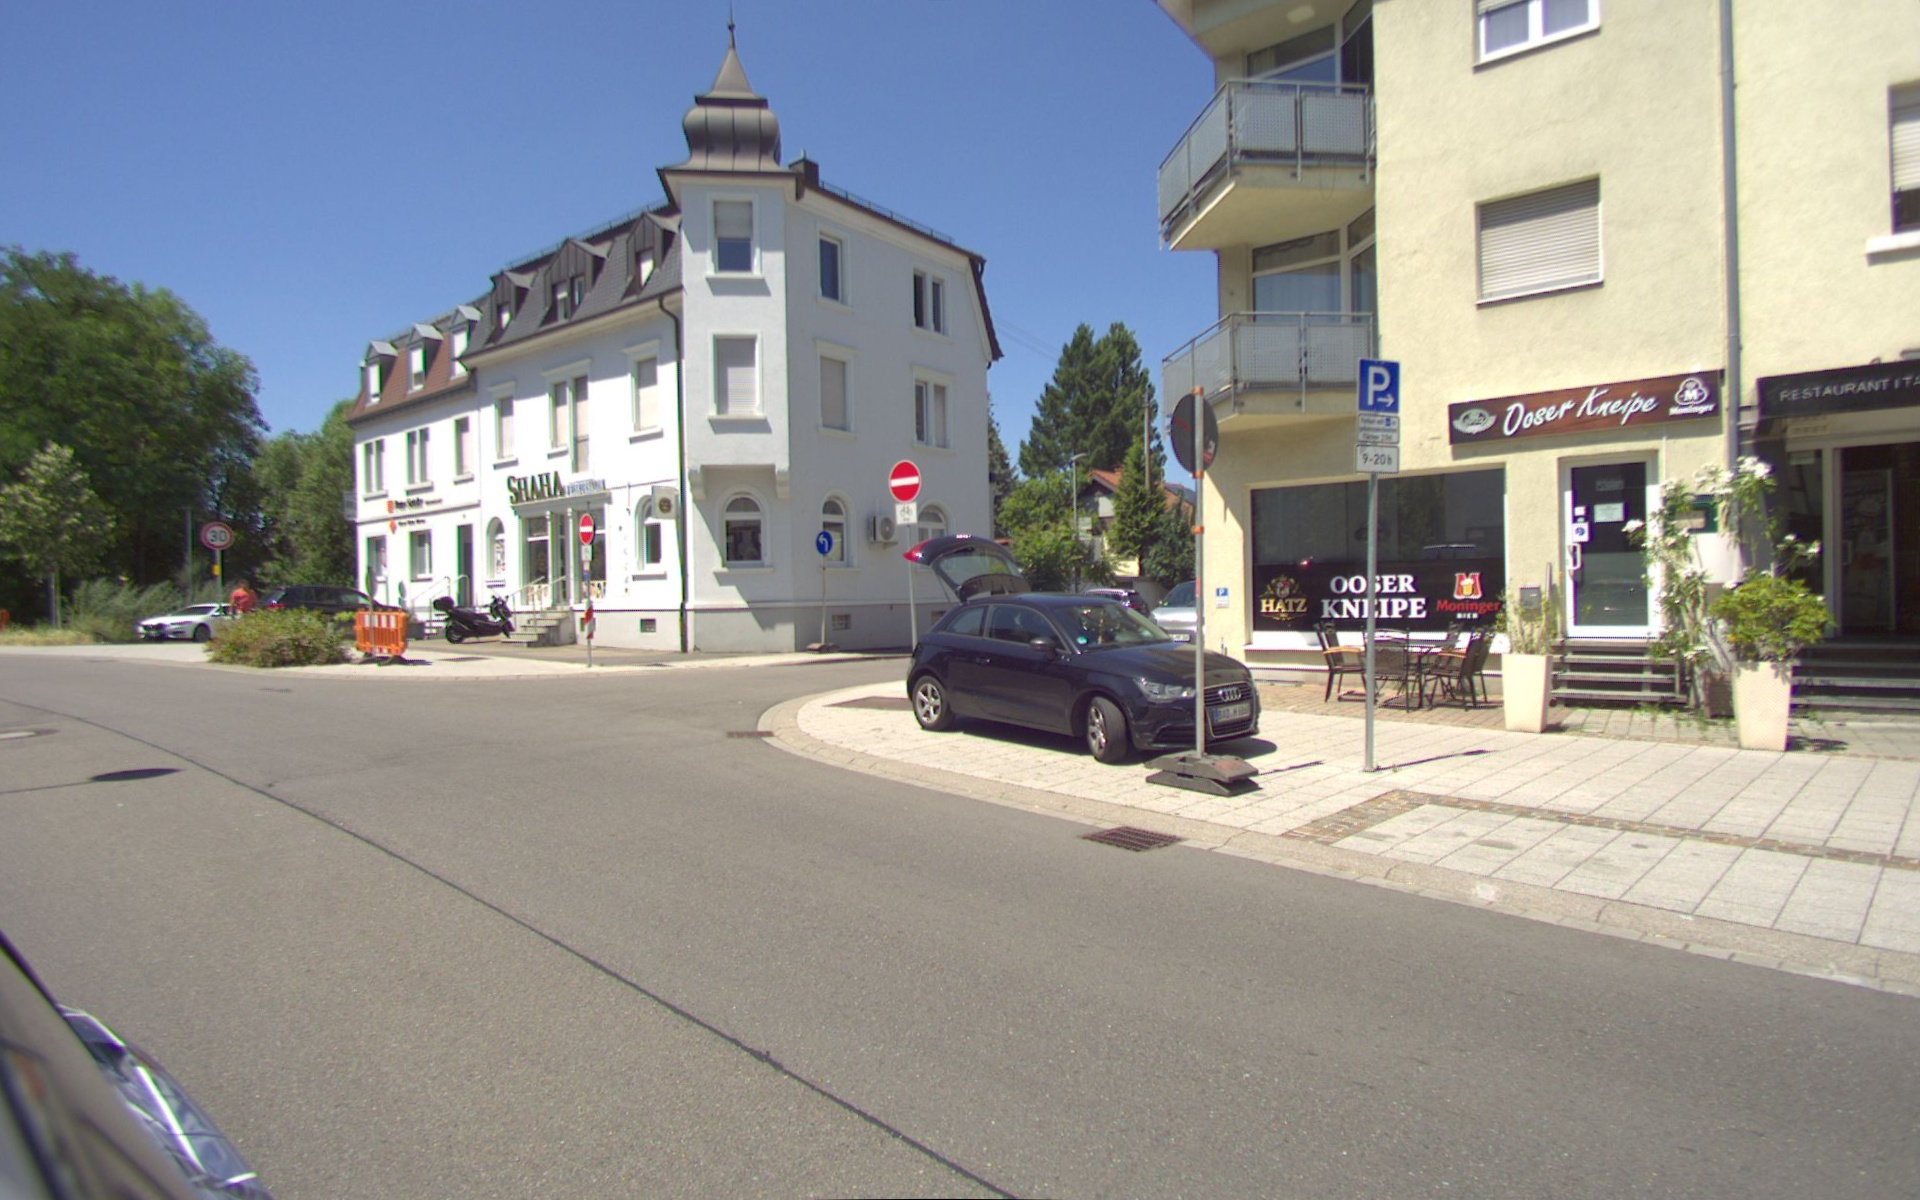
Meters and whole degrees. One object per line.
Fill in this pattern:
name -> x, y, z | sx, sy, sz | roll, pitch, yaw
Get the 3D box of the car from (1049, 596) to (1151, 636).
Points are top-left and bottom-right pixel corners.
car -> 5.837, 0.664, 42.360 | 3.997, 1.590, 1.645 | -1, -1, 40

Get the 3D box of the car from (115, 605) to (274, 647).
car -> -27.054, 0.865, 36.001 | 1.974, 1.366, 4.704 | -1, 0, 3

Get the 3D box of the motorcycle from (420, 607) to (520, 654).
motorcycle -> -13.484, 0.808, 27.895 | 0.832, 1.227, 2.372 | 0, 0, 37

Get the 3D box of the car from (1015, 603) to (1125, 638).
car -> 4.306, 0.789, 39.800 | 3.998, 1.302, 1.827 | -1, -1, 41

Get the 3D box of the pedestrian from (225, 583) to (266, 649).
pedestrian -> -19.537, 0.425, 27.681 | 0.736, 1.767, 0.729 | 0, 0, 39

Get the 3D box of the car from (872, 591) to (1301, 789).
car -> 1.030, 0.682, 9.988 | 1.691, 1.471, 4.137 | -3, 2, -40

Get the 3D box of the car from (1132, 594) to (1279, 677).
car -> 4.817, 0.645, 19.645 | 1.688, 1.469, 3.234 | -2, -1, 35

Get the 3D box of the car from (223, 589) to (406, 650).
car -> -18.931, 0.540, 29.836 | 1.967, 1.675, 4.144 | -1, 0, 35
